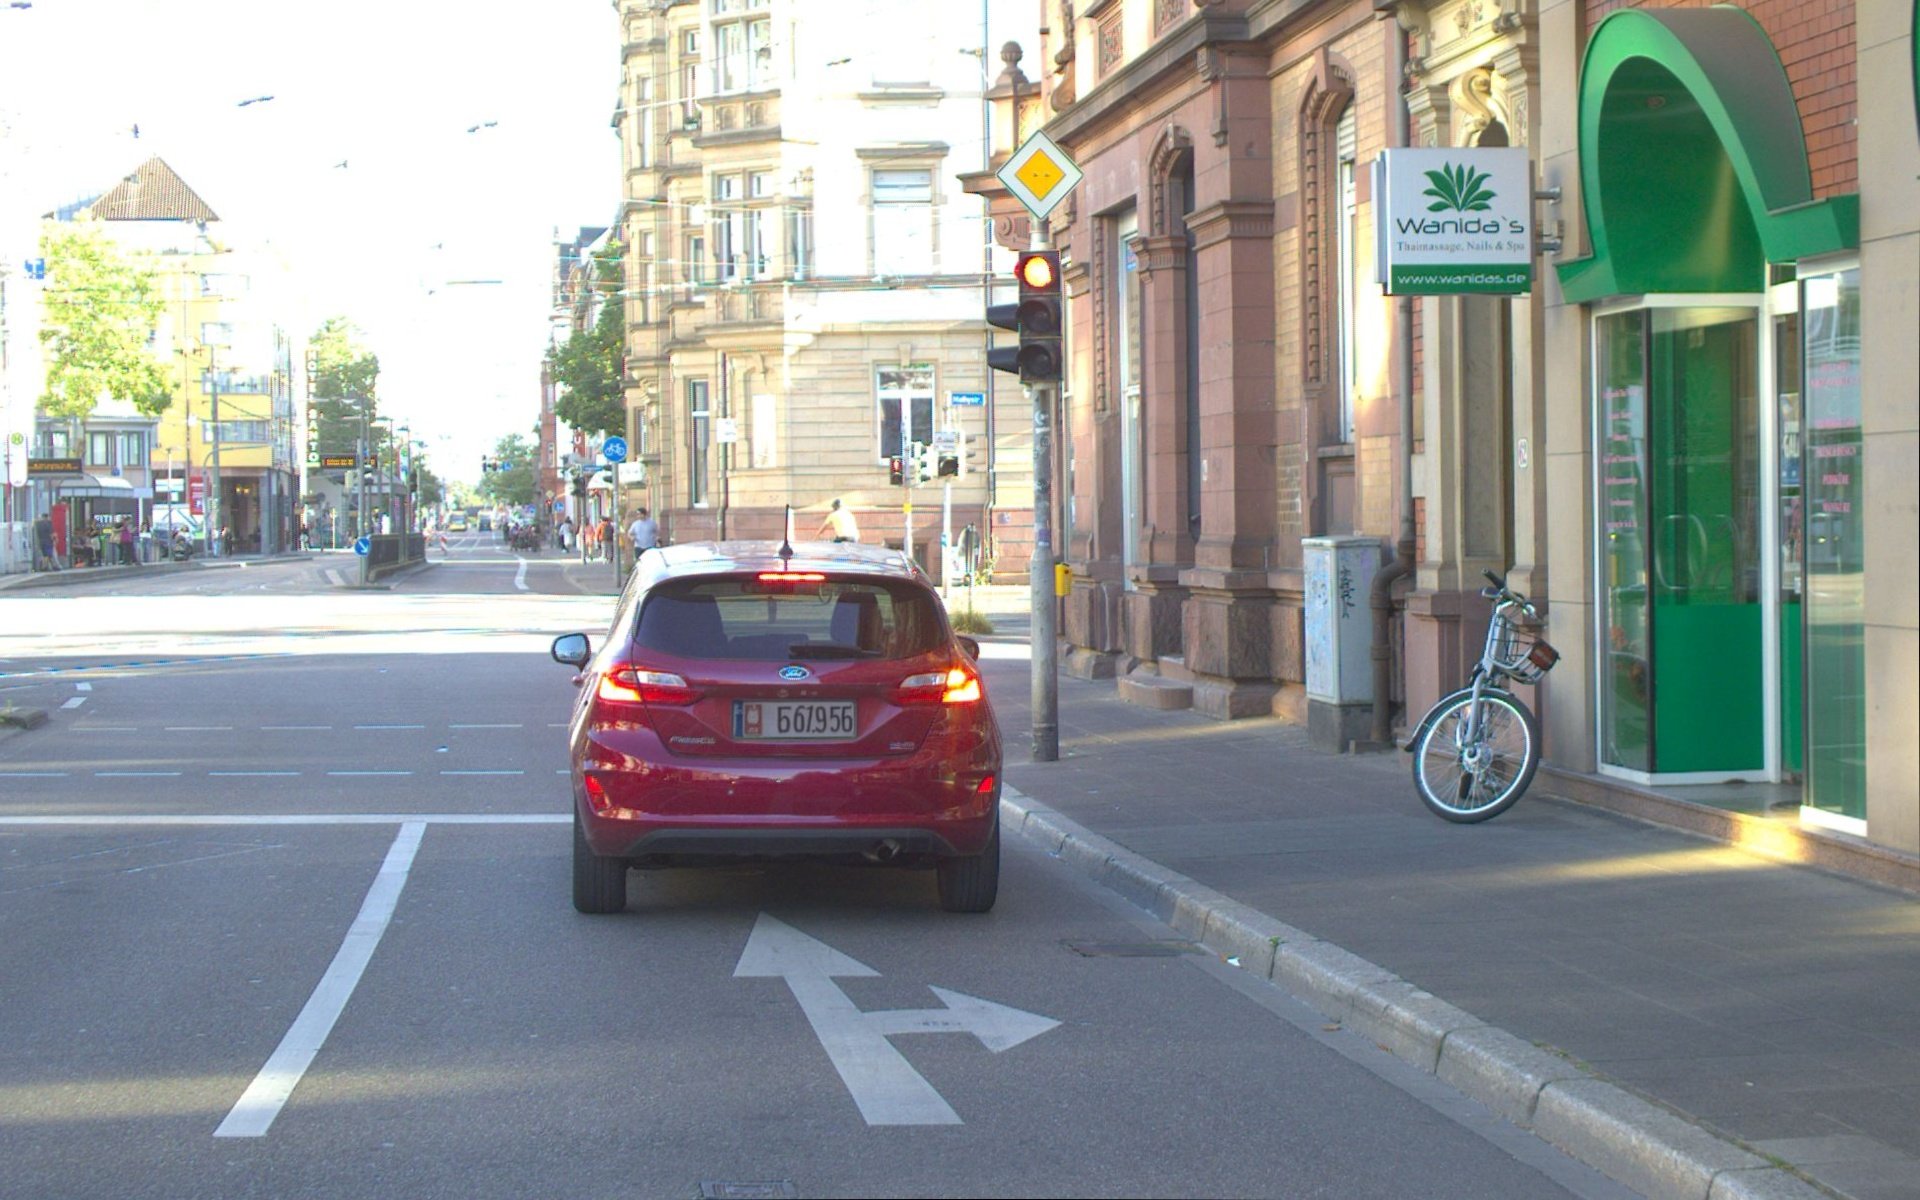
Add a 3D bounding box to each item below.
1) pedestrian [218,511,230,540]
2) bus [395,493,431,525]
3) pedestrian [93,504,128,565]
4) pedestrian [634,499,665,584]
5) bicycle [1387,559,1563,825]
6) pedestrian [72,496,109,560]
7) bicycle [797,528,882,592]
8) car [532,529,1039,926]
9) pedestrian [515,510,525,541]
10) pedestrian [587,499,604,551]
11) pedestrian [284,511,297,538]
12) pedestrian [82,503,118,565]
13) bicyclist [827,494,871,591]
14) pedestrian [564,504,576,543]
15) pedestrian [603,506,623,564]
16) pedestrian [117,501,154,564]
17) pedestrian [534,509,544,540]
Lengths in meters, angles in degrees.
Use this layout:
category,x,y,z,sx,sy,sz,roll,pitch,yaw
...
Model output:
category,x,y,z,sx,sy,sz,roll,pitch,yaw
pedestrian,-37.733,-3.815,176.318,0.524,1.483,0.583,-1,1,-5
bus,-35.626,-5.904,224.021,1.925,2.006,7.139,-1,2,-6
pedestrian,-28.230,-2.170,114.265,1.045,2.007,0.959,-1,1,-9
pedestrian,-7.398,-1.406,81.885,0.651,2.007,0.760,-1,1,-8
bicycle,2.489,0.413,16.481,0.716,1.148,1.654,-2,2,11
pedestrian,-27.338,-2.263,108.059,0.956,2.007,1.049,-1,1,-7
bicycle,-2.088,-0.699,59.498,1.485,1.085,0.527,0,2,39
car,-0.886,0.440,14.821,1.753,1.461,3.946,0,1,-9
pedestrian,-27.064,-4.606,211.598,0.577,1.880,0.670,-1,1,-7
pedestrian,-14.124,-2.913,133.162,0.577,2.007,0.631,-1,1,-1
pedestrian,-39.627,-4.463,203.406,0.628,1.598,0.579,-1,1,-24
pedestrian,-28.090,-2.161,112.330,1.045,2.007,0.959,-1,1,-9
bicyclist,-1.913,-0.991,59.339,0.544,1.670,0.500,0,2,39
pedestrian,-19.987,-3.921,175.981,0.577,2.007,0.631,-1,1,-6
pedestrian,-12.066,-2.260,119.530,0.646,2.007,0.683,-1,1,-7
pedestrian,-26.462,-2.171,110.371,1.045,2.007,0.959,-1,1,-9
pedestrian,-25.478,-4.586,208.028,0.577,1.880,0.631,-1,1,-7
